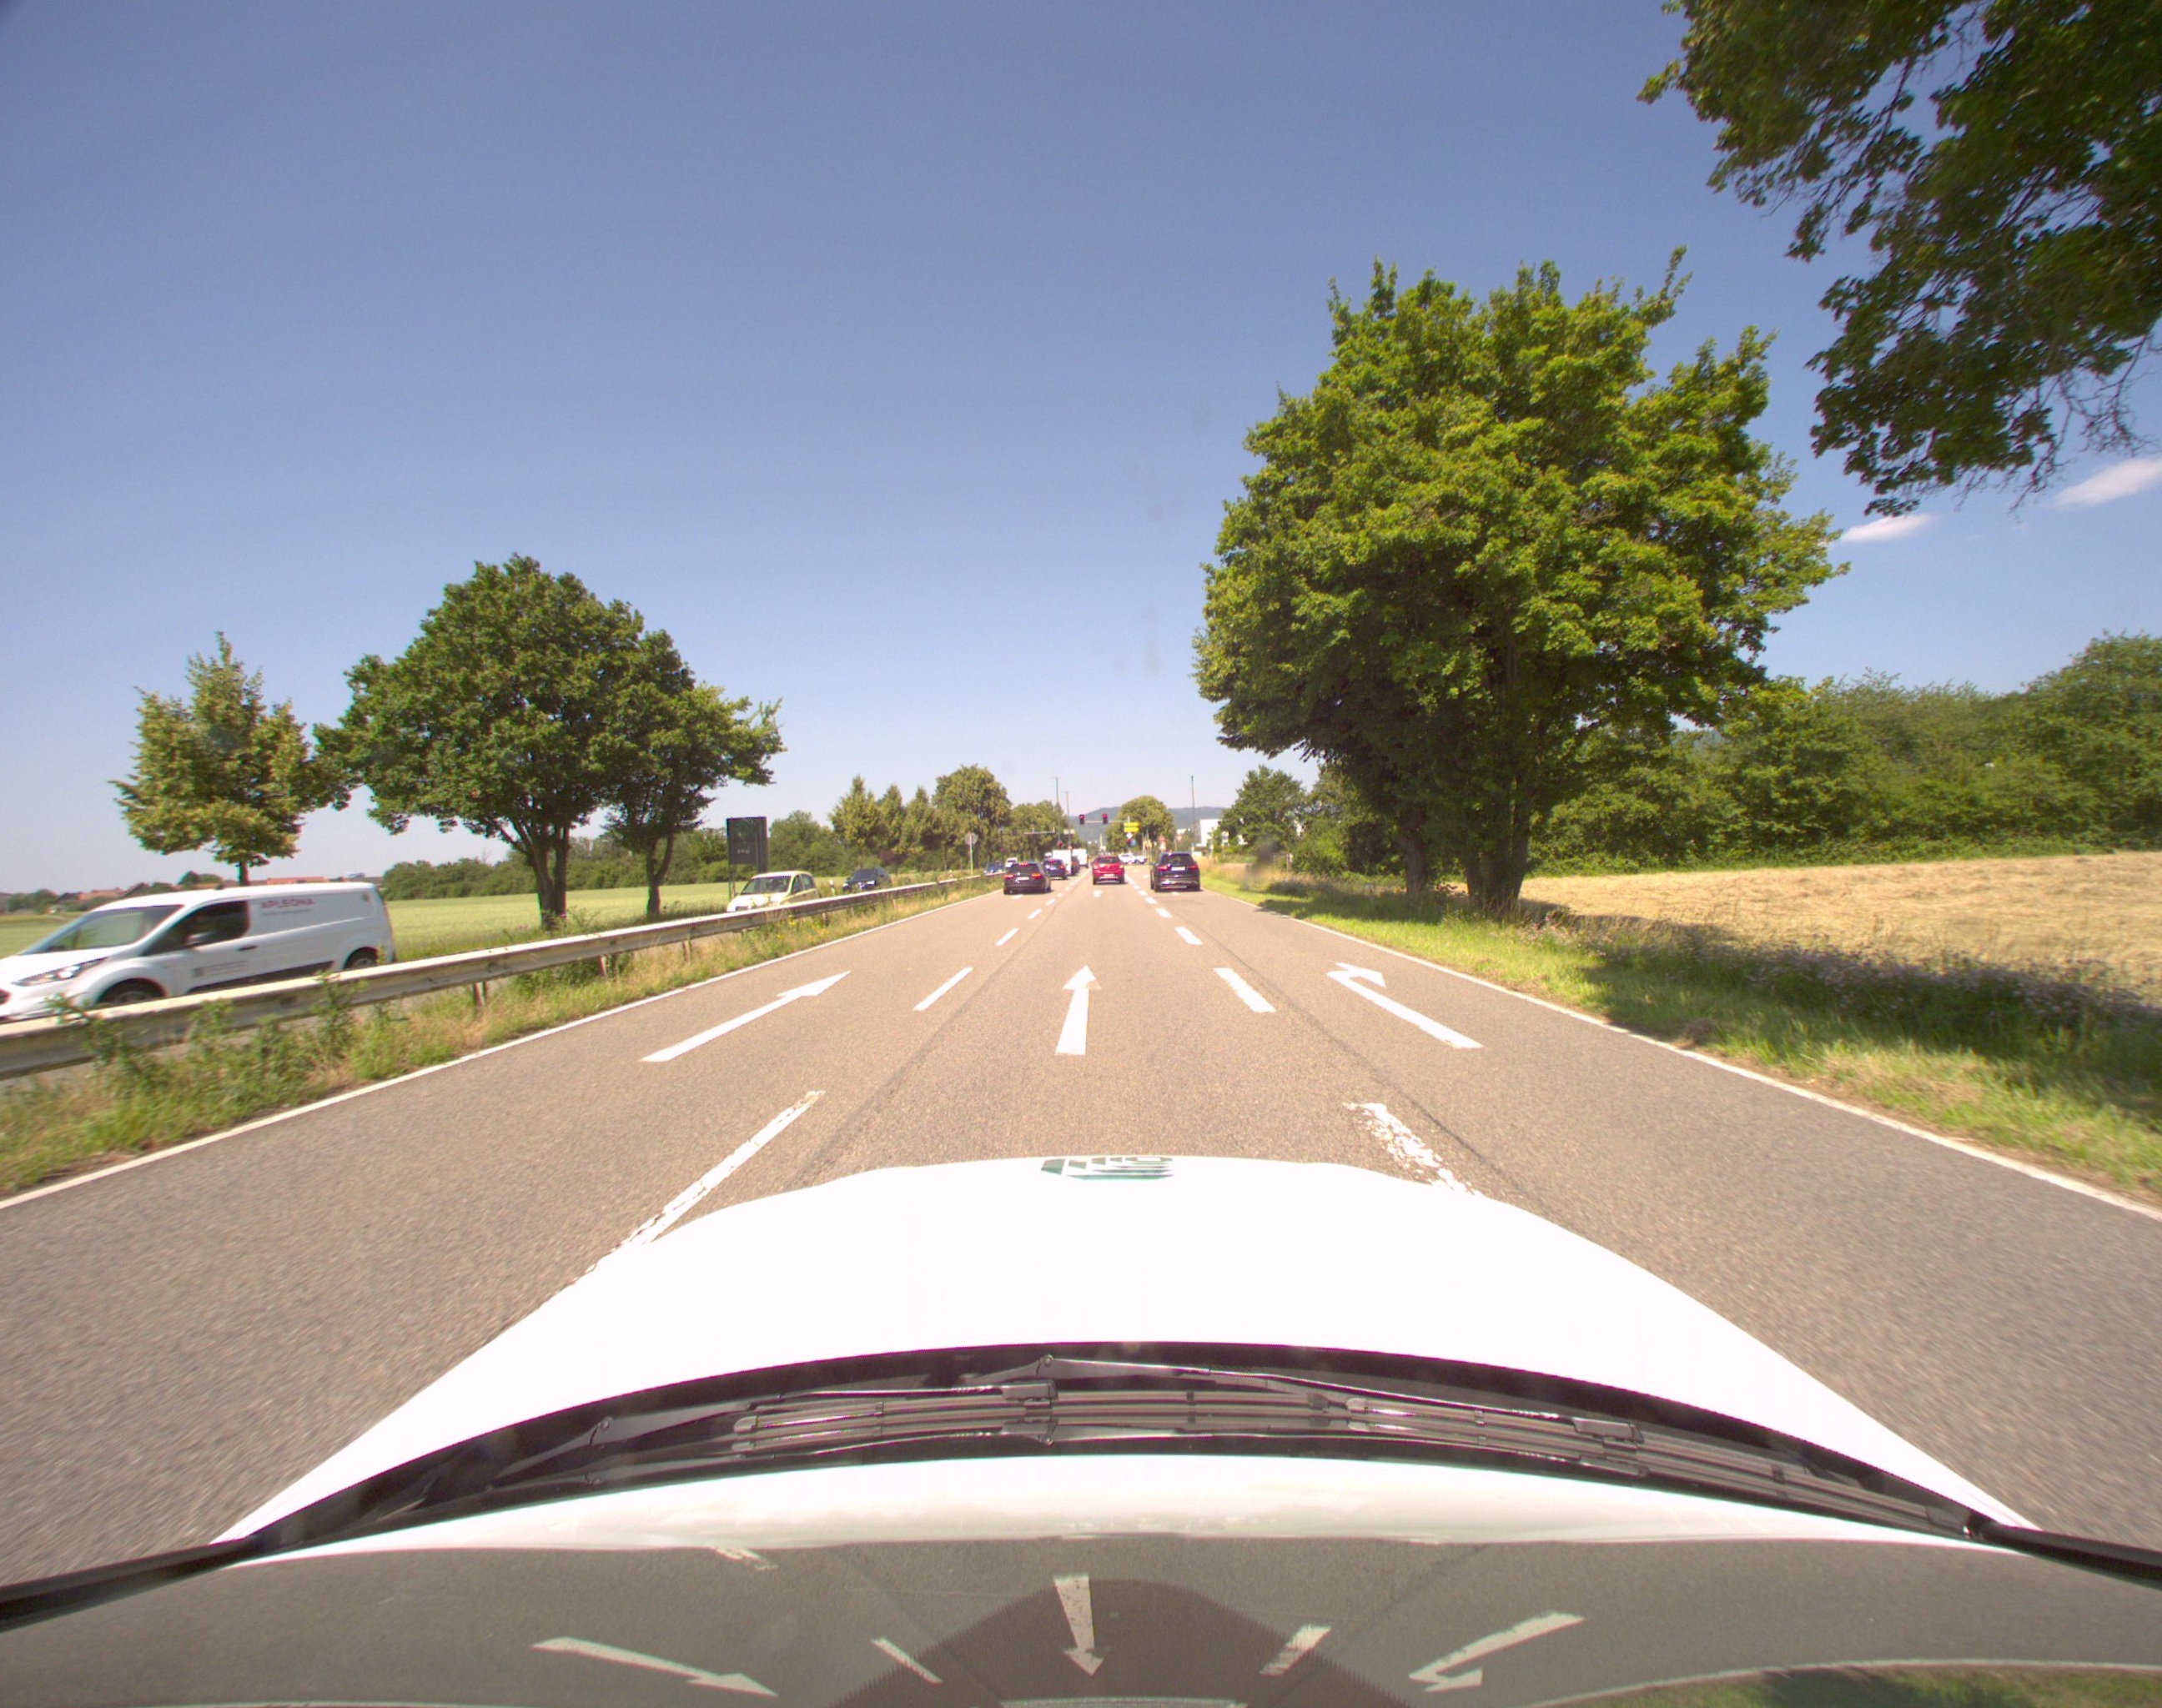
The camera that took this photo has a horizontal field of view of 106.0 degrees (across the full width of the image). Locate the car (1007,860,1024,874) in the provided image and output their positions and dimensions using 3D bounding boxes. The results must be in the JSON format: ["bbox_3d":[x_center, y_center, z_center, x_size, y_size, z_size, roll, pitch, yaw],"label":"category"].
[{"bbox_3d":[-10.056,2.007,125.437,1.986,1.951,4.831,-3,-1,1],"label":"car"}]

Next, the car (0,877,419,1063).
[{"bbox_3d":[-12.584,1.410,11.671,1.986,1.960,4.929,-2,0,2],"label":"car"}]

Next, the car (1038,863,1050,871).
[{"bbox_3d":[-7.180,2.561,158.475,1.872,1.454,4.505,-3,0,1],"label":"car"}]

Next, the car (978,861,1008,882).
[{"bbox_3d":[-7.730,1.529,71.931,1.986,1.662,4.481,-3,0,1],"label":"car"}]

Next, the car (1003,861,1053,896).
[{"bbox_3d":[-2.294,1.043,36.108,1.734,1.380,4.457,-2,0,2],"label":"car"}]

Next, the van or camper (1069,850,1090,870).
[{"bbox_3d":[-0.127,0.775,100.456,2.170,2.302,4.830,-3,0,3],"label":"van or camper"}]

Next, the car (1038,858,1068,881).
[{"bbox_3d":[-1.859,1.003,55.120,1.711,1.465,4.031,-1,0,1],"label":"car"}]

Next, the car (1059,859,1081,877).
[{"bbox_3d":[-1.009,1.260,75.951,1.716,1.576,3.894,-2,0,2],"label":"car"}]

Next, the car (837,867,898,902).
[{"bbox_3d":[-11.519,1.628,44.252,1.986,1.662,4.481,-2,0,1],"label":"car"}]

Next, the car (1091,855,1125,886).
[{"bbox_3d":[1.525,0.874,44.542,1.742,1.576,3.679,-1,0,3],"label":"car"}]

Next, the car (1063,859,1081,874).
[{"bbox_3d":[-0.980,1.353,89.811,1.717,1.600,3.957,-1,0,2],"label":"car"}]

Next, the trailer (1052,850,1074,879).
[{"bbox_3d":[-1.402,0.823,64.751,1.495,2.173,4.175,-2,-1,1],"label":"trailer"}]

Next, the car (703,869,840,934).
[{"bbox_3d":[-8.628,1.263,23.202,1.986,1.557,4.483,-2,0,2],"label":"car"}]

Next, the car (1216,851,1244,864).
[{"bbox_3d":[21.698,0.501,118.555,3.792,1.580,2.081,-3,-1,12],"label":"car"}]

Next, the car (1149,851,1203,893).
[{"bbox_3d":[3.961,0.703,34.499,1.985,1.616,4.343,-1,0,3],"label":"car"}]

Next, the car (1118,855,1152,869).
[{"bbox_3d":[7.716,1.155,116.862,4.449,1.868,1.896,-3,-1,24],"label":"car"}]
